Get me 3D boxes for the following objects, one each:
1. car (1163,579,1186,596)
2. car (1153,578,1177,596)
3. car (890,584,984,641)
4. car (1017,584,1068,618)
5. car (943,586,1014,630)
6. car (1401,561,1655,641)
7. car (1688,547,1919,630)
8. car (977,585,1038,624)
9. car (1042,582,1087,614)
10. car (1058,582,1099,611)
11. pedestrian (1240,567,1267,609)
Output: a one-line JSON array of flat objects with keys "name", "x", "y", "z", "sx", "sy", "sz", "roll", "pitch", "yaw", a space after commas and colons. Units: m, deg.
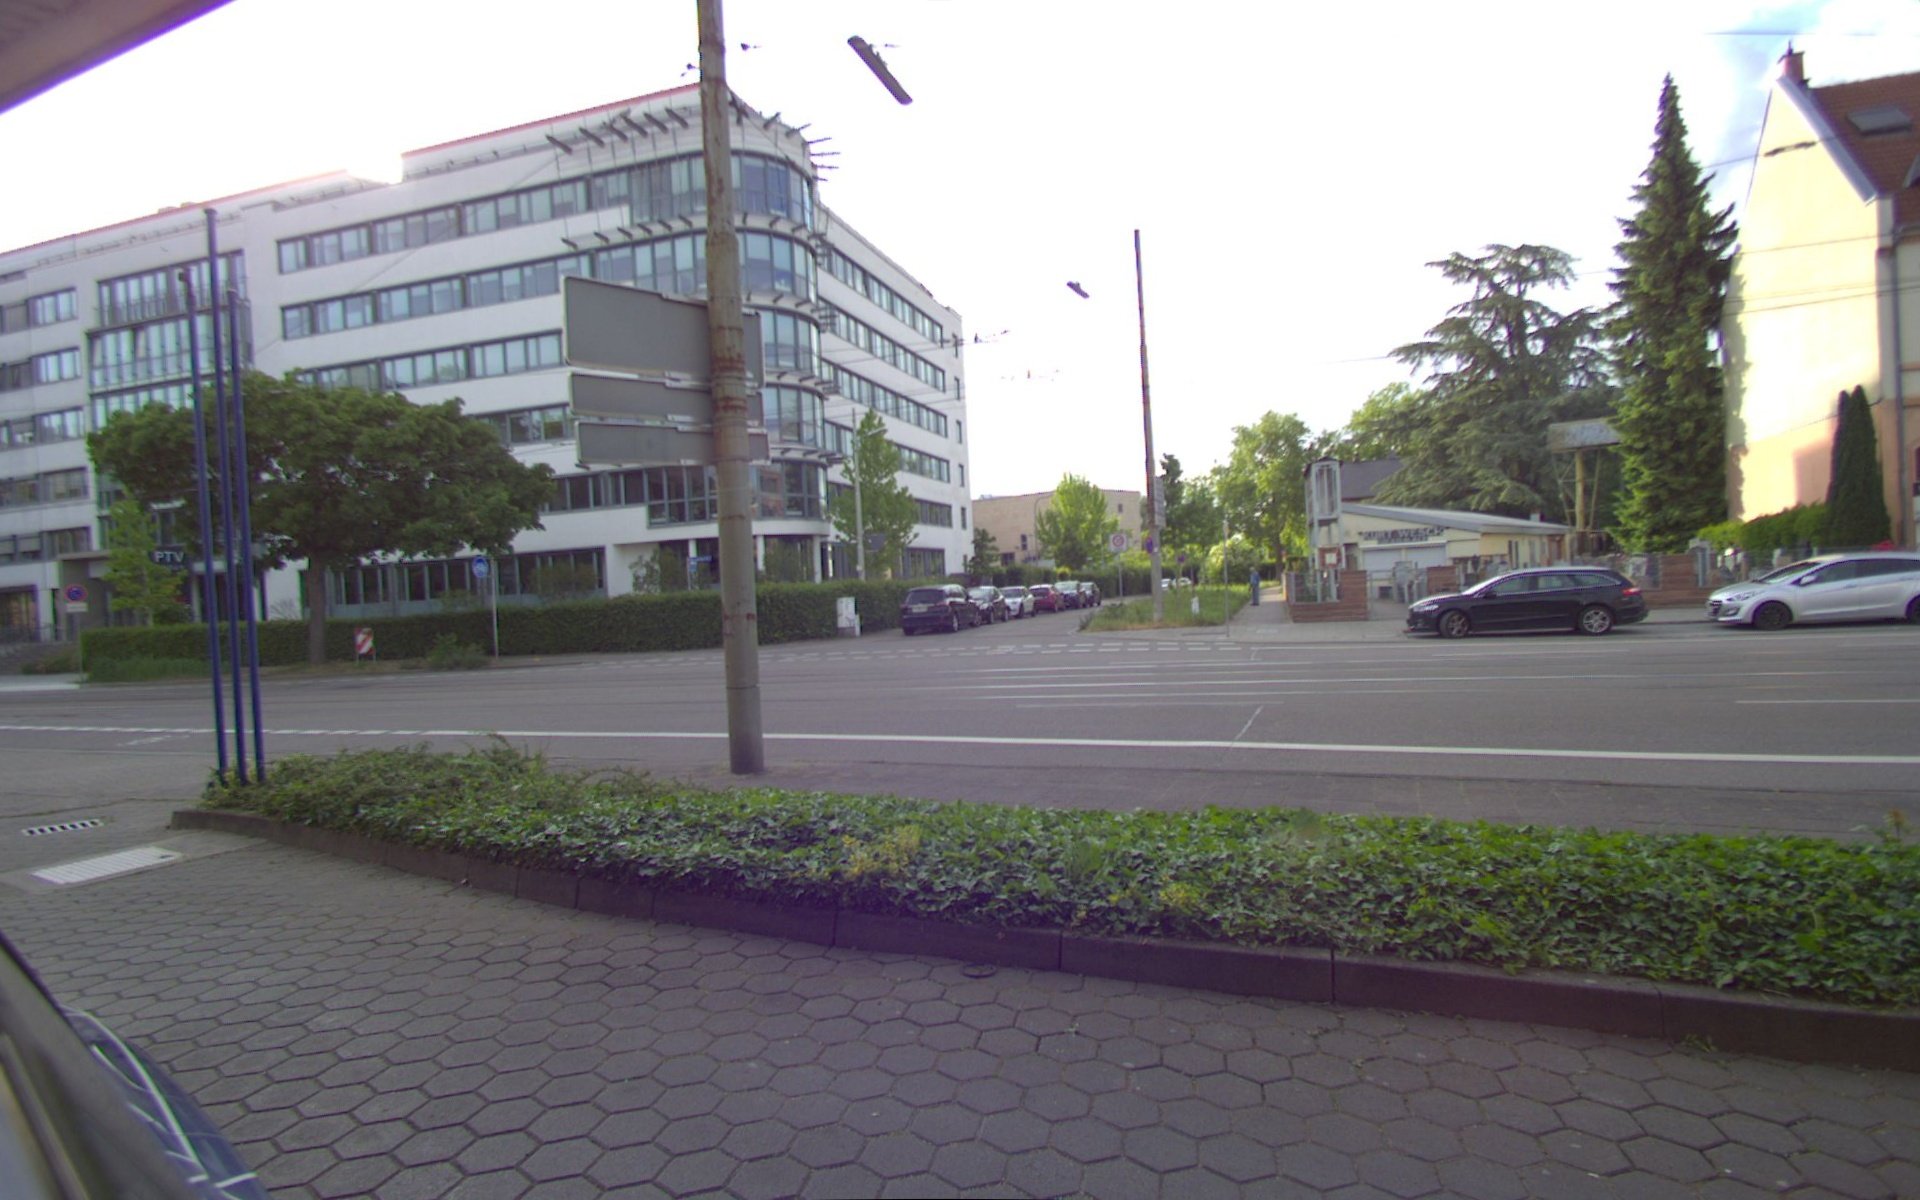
[{"name": "car", "x": 22.561, "y": -1.308, "z": 106.313, "sx": 1.774, "sy": 1.653, "sz": 4.060, "roll": -4, "pitch": 0, "yaw": 19}, {"name": "car", "x": 20.423, "y": -1.279, "z": 100.616, "sx": 1.774, "sy": 1.653, "sz": 4.060, "roll": -4, "pitch": 0, "yaw": 19}, {"name": "car", "x": -0.720, "y": 0.379, "z": 35.537, "sx": 1.962, "sy": 1.625, "sz": 4.411, "roll": -4, "pitch": 2, "yaw": 17}, {"name": "car", "x": 4.288, "y": 0.019, "z": 52.361, "sx": 1.773, "sy": 1.552, "sz": 4.018, "roll": -4, "pitch": 0, "yaw": 17}, {"name": "car", "x": 0.800, "y": 0.286, "z": 40.894, "sx": 1.773, "sy": 1.565, "sz": 4.083, "roll": -4, "pitch": 0, "yaw": 17}, {"name": "car", "x": 12.920, "y": 0.040, "z": 23.417, "sx": 4.791, "sy": 1.507, "sz": 1.986, "roll": -4, "pitch": 0, "yaw": 22}, {"name": "car", "x": 18.496, "y": -0.261, "z": 21.500, "sx": 4.459, "sy": 1.486, "sz": 1.986, "roll": -4, "pitch": 0, "yaw": 22}, {"name": "car", "x": 2.208, "y": 0.172, "z": 45.756, "sx": 1.773, "sy": 1.565, "sz": 4.083, "roll": -4, "pitch": 0, "yaw": 17}, {"name": "car", "x": 5.982, "y": -0.140, "z": 57.662, "sx": 1.773, "sy": 1.653, "sz": 4.064, "roll": -4, "pitch": 0, "yaw": 17}, {"name": "car", "x": 7.373, "y": -0.238, "z": 62.673, "sx": 1.773, "sy": 1.653, "sz": 4.064, "roll": -4, "pitch": 0, "yaw": 17}, {"name": "pedestrian", "x": 13.114, "y": -0.523, "z": 45.160, "sx": 1.000, "sy": 1.843, "sz": 1.083, "roll": -1, "pitch": 0, "yaw": 24}]
